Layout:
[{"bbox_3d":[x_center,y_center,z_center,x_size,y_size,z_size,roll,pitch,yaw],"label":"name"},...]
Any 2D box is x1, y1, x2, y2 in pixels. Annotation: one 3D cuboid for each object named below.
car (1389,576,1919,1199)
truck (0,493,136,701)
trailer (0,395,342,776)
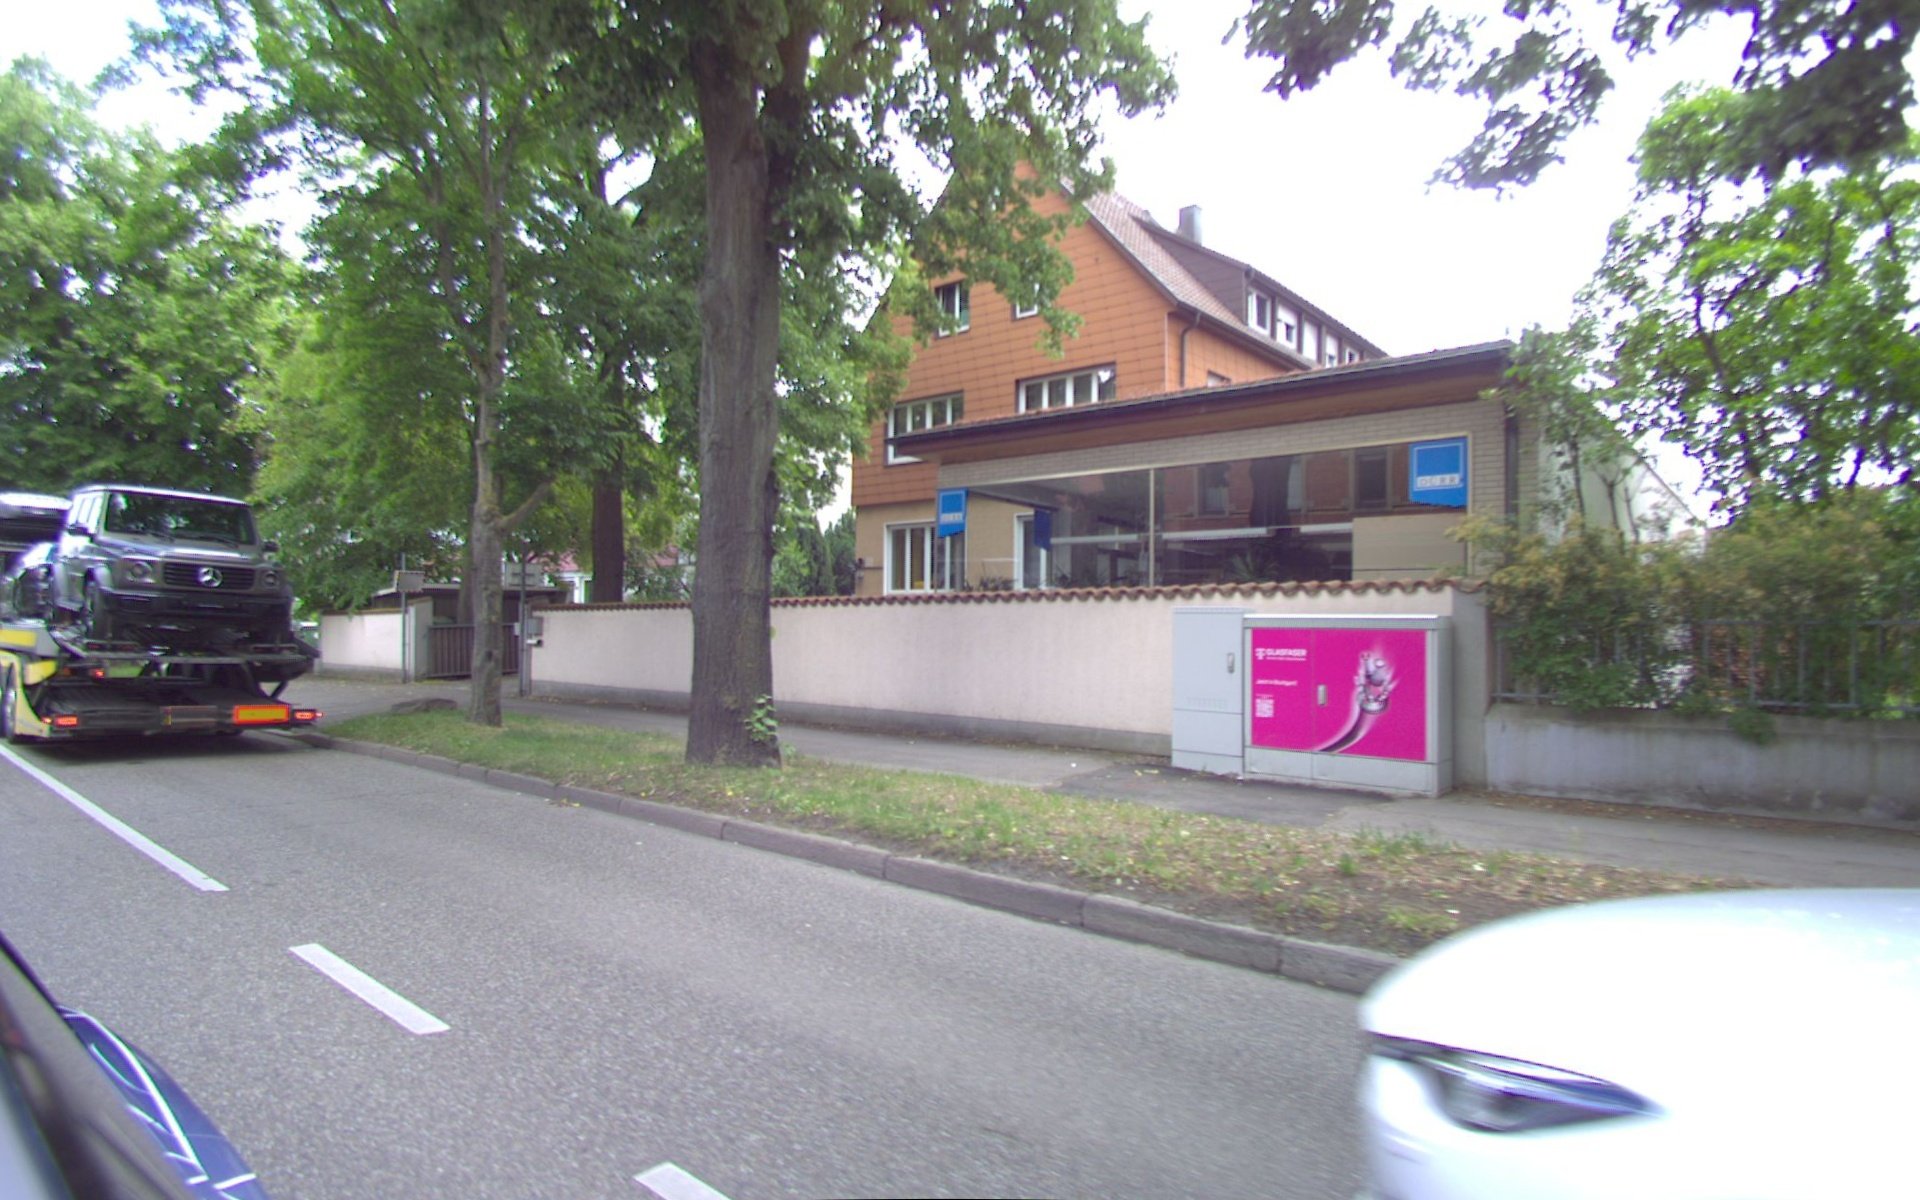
[{"bbox_3d":[2.907,0.756,1.040,4.225,1.481,1.748,-1,-4,42],"label":"car"},{"bbox_3d":[-20.027,-0.023,21.433,7.666,3.811,2.814,-1,-1,42],"label":"truck"},{"bbox_3d":[-13.869,-0.090,16.022,14.384,3.837,2.828,-1,-1,41],"label":"trailer"}]
